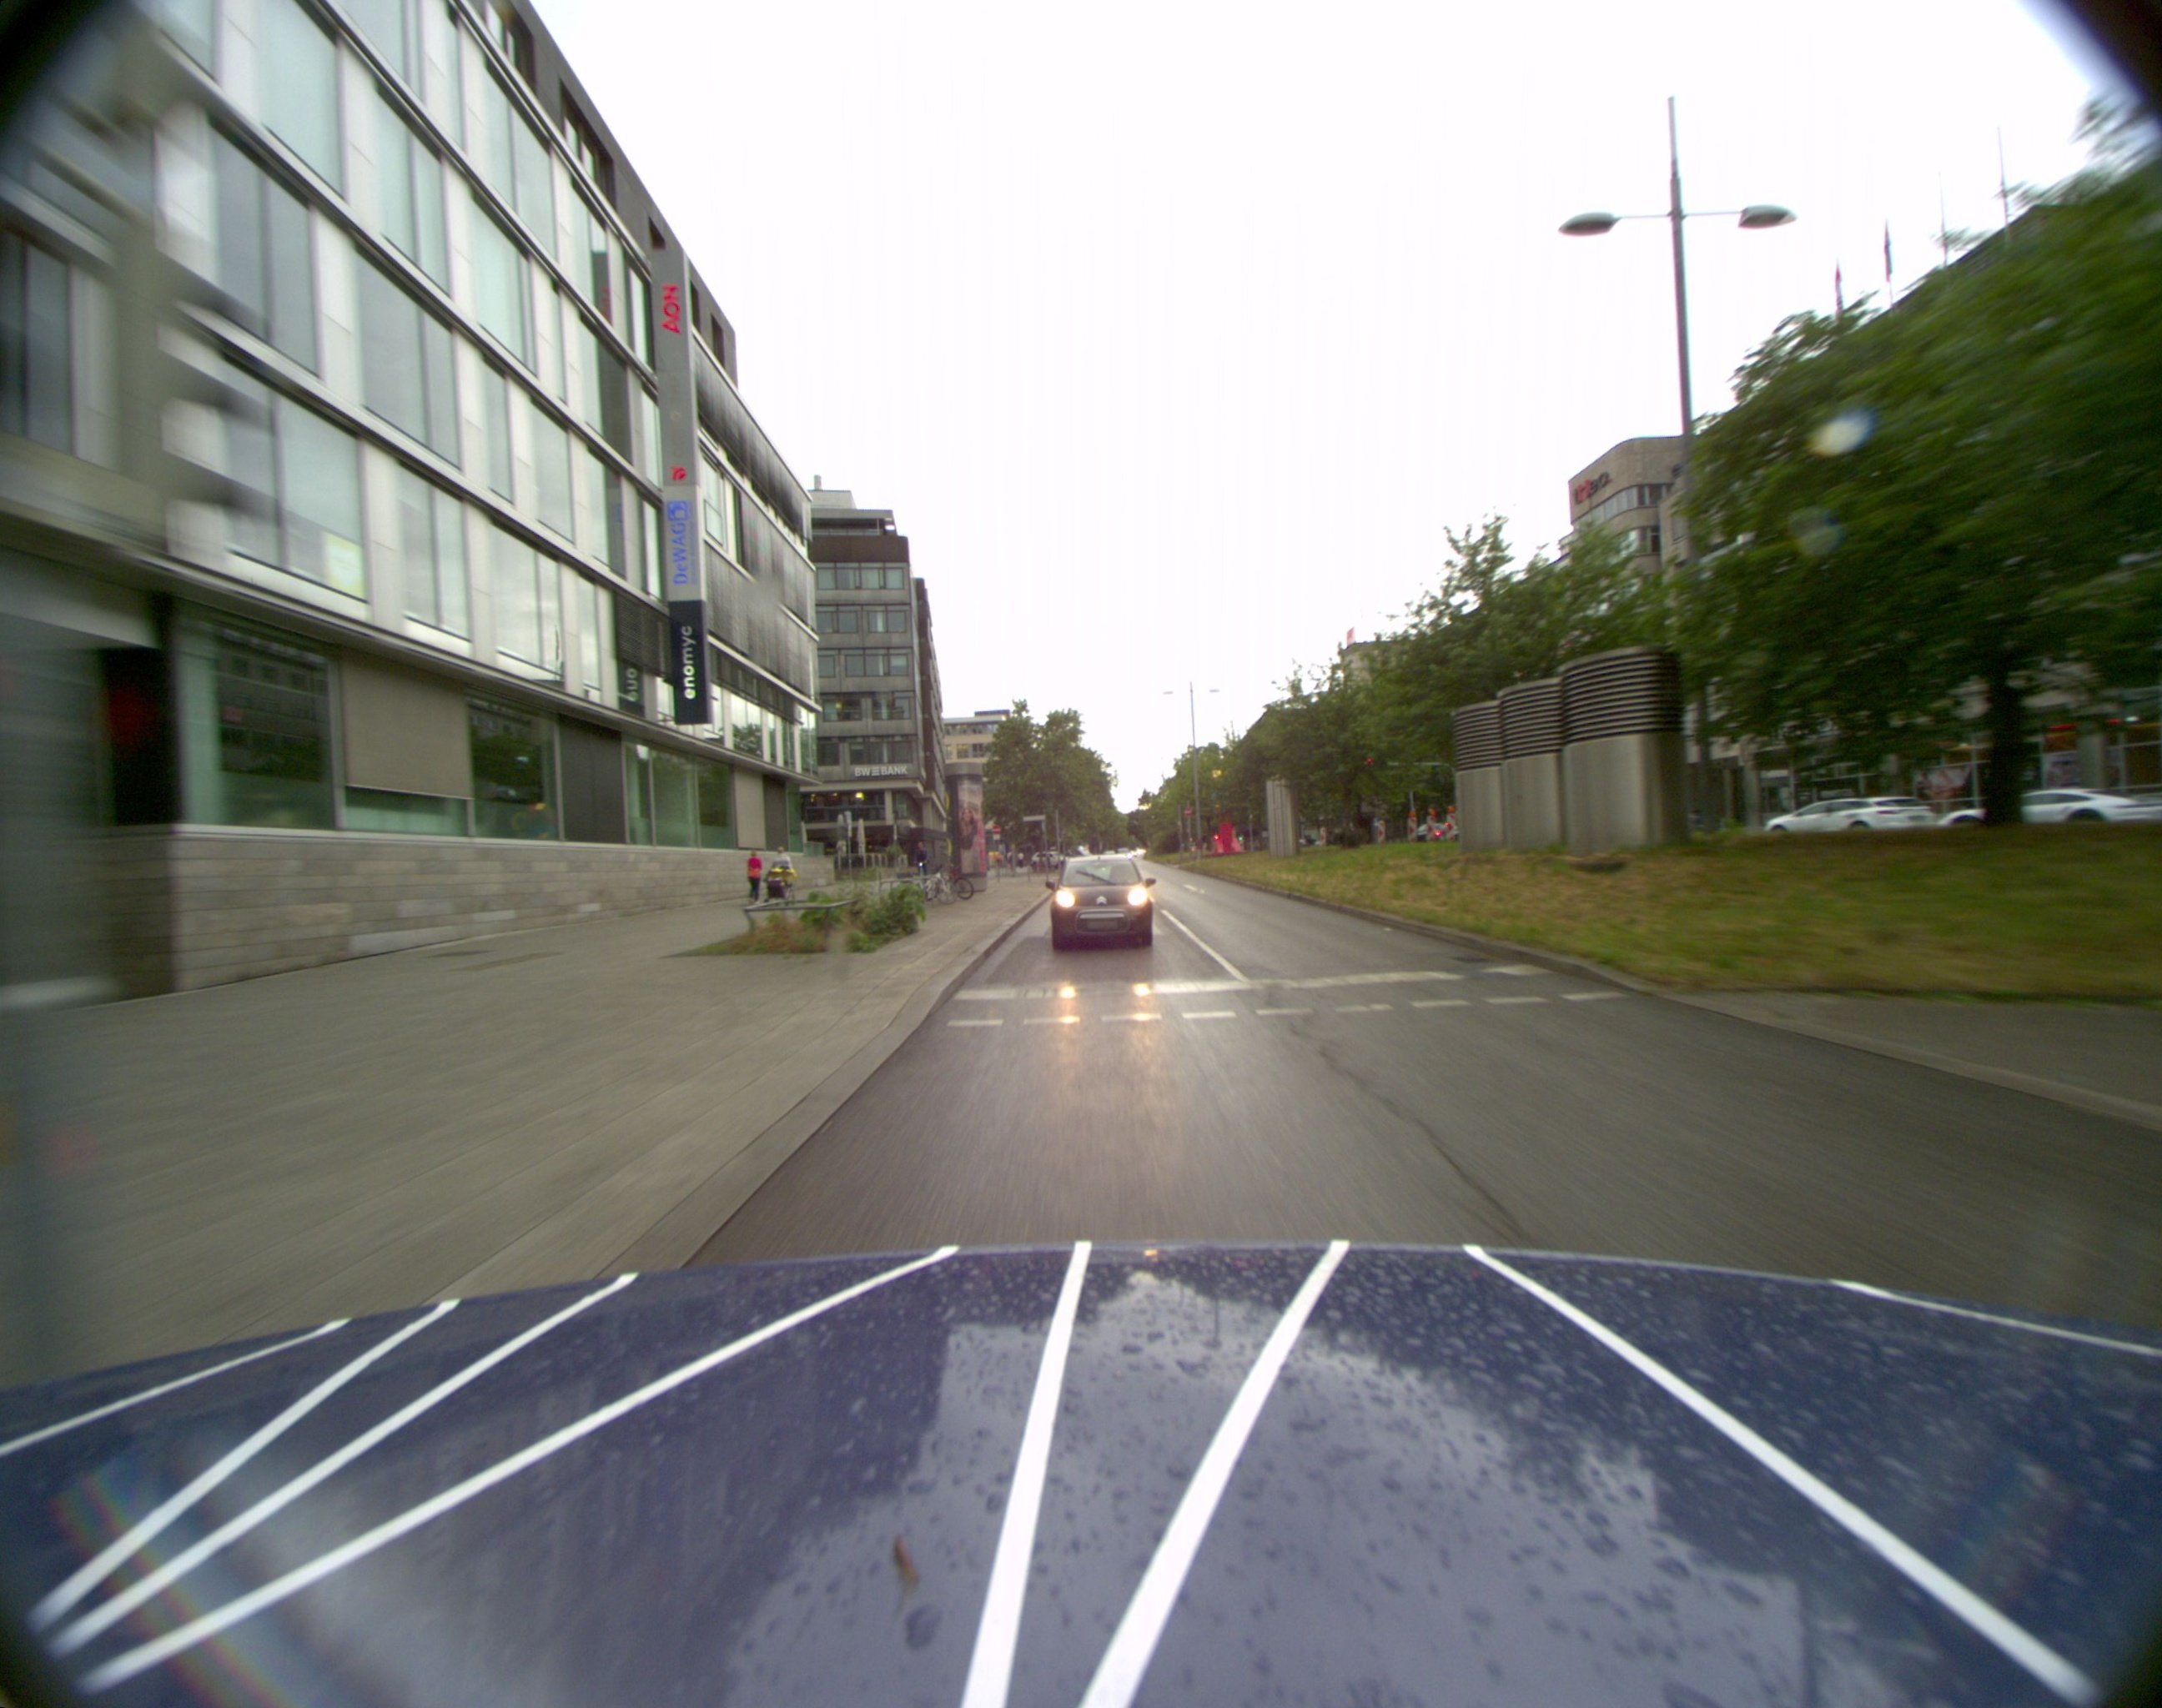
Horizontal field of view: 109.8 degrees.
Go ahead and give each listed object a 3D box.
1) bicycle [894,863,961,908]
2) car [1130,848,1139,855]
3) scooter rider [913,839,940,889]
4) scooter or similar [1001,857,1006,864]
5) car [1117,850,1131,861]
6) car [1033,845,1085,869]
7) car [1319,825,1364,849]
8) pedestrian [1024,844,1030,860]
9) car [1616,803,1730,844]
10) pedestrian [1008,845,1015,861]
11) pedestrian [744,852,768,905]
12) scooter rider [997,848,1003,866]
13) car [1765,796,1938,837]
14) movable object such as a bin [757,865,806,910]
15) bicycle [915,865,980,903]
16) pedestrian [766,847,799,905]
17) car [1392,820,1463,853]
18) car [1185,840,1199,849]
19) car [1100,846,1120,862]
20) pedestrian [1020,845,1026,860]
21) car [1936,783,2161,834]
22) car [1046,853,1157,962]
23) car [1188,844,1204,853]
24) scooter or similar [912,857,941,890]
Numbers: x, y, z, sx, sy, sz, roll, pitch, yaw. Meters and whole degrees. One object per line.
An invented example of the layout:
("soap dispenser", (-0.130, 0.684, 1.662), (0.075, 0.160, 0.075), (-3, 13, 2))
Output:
("bicycle", (-4.393, 0.899, 21.870), (1.797, 1.200, 0.669), (-2, 1, -6))
("car", (12.843, -0.549, 184.003), (1.799, 1.501, 4.499), (-3, 1, 1))
("scooter rider", (-6.439, 0.414, 31.641), (0.779, 2.009, 0.924), (-2, 1, 3))
("scooter or similar", (-8.987, 0.758, 88.127), (0.408, 0.768, 1.276), (-3, 1, -2))
("car", (5.957, 0.239, 105.423), (1.605, 1.377, 3.019), (-5, 1, 0))
("car", (-2.039, 0.261, 69.391), (4.202, 1.802, 2.003), (-4, 1, 35))
("car", (19.225, -1.237, 56.234), (1.880, 1.571, 4.107), (-5, 1, 0))
("pedestrian", (-5.868, -0.194, 82.717), (0.452, 1.692, 0.497), (-2, 2, 1))
("car", (26.297, -1.290, 33.936), (1.575, 1.571, 4.105), (-5, 1, -4))
("pedestrian", (-7.562, -0.125, 82.805), (0.552, 1.692, 0.547), (-2, 2, 1))
("pedestrian", (-10.434, 0.777, 24.395), (0.485, 1.689, 0.579), (-1, 1, -2))
("scooter rider", (-9.383, 0.325, 88.006), (0.627, 2.013, 0.854), (-3, 1, -2))
("car", (26.372, -1.228, 26.229), (1.575, 1.116, 4.105), (-5, 1, -4))
("movable object such as a bin", (-9.101, 1.000, 23.167), (0.805, 1.258, 1.787), (-1, 1, -2))
("bicycle", (-4.162, 0.928, 23.738), (1.876, 1.104, 0.669), (-2, 1, 1))
("pedestrian", (-9.583, 0.704, 24.421), (0.723, 1.820, 0.746), (-1, 1, -2))
("car", (18.831, -0.918, 41.481), (1.880, 1.571, 4.107), (-5, 1, 0))
("car", (22.836, -1.943, 156.275), (2.072, 1.578, 4.107), (-5, 1, 0))
("car", (3.407, -0.004, 89.267), (2.072, 1.578, 4.107), (-5, 1, 0))
("pedestrian", (-6.312, -0.174, 82.651), (0.452, 1.692, 0.497), (-2, 2, 1))
("car", (26.578, -1.201, 20.787), (1.575, 1.116, 4.105), (-5, 1, -4))
("car", (0.356, 0.807, 13.242), (1.594, 1.501, 3.709), (-3, 1, 1))
("car", (20.682, -1.009, 136.528), (2.072, 1.578, 4.107), (-5, 1, 0))
("scooter or similar", (-6.426, 0.806, 31.636), (0.779, 1.298, 1.335), (-2, 1, 4))
